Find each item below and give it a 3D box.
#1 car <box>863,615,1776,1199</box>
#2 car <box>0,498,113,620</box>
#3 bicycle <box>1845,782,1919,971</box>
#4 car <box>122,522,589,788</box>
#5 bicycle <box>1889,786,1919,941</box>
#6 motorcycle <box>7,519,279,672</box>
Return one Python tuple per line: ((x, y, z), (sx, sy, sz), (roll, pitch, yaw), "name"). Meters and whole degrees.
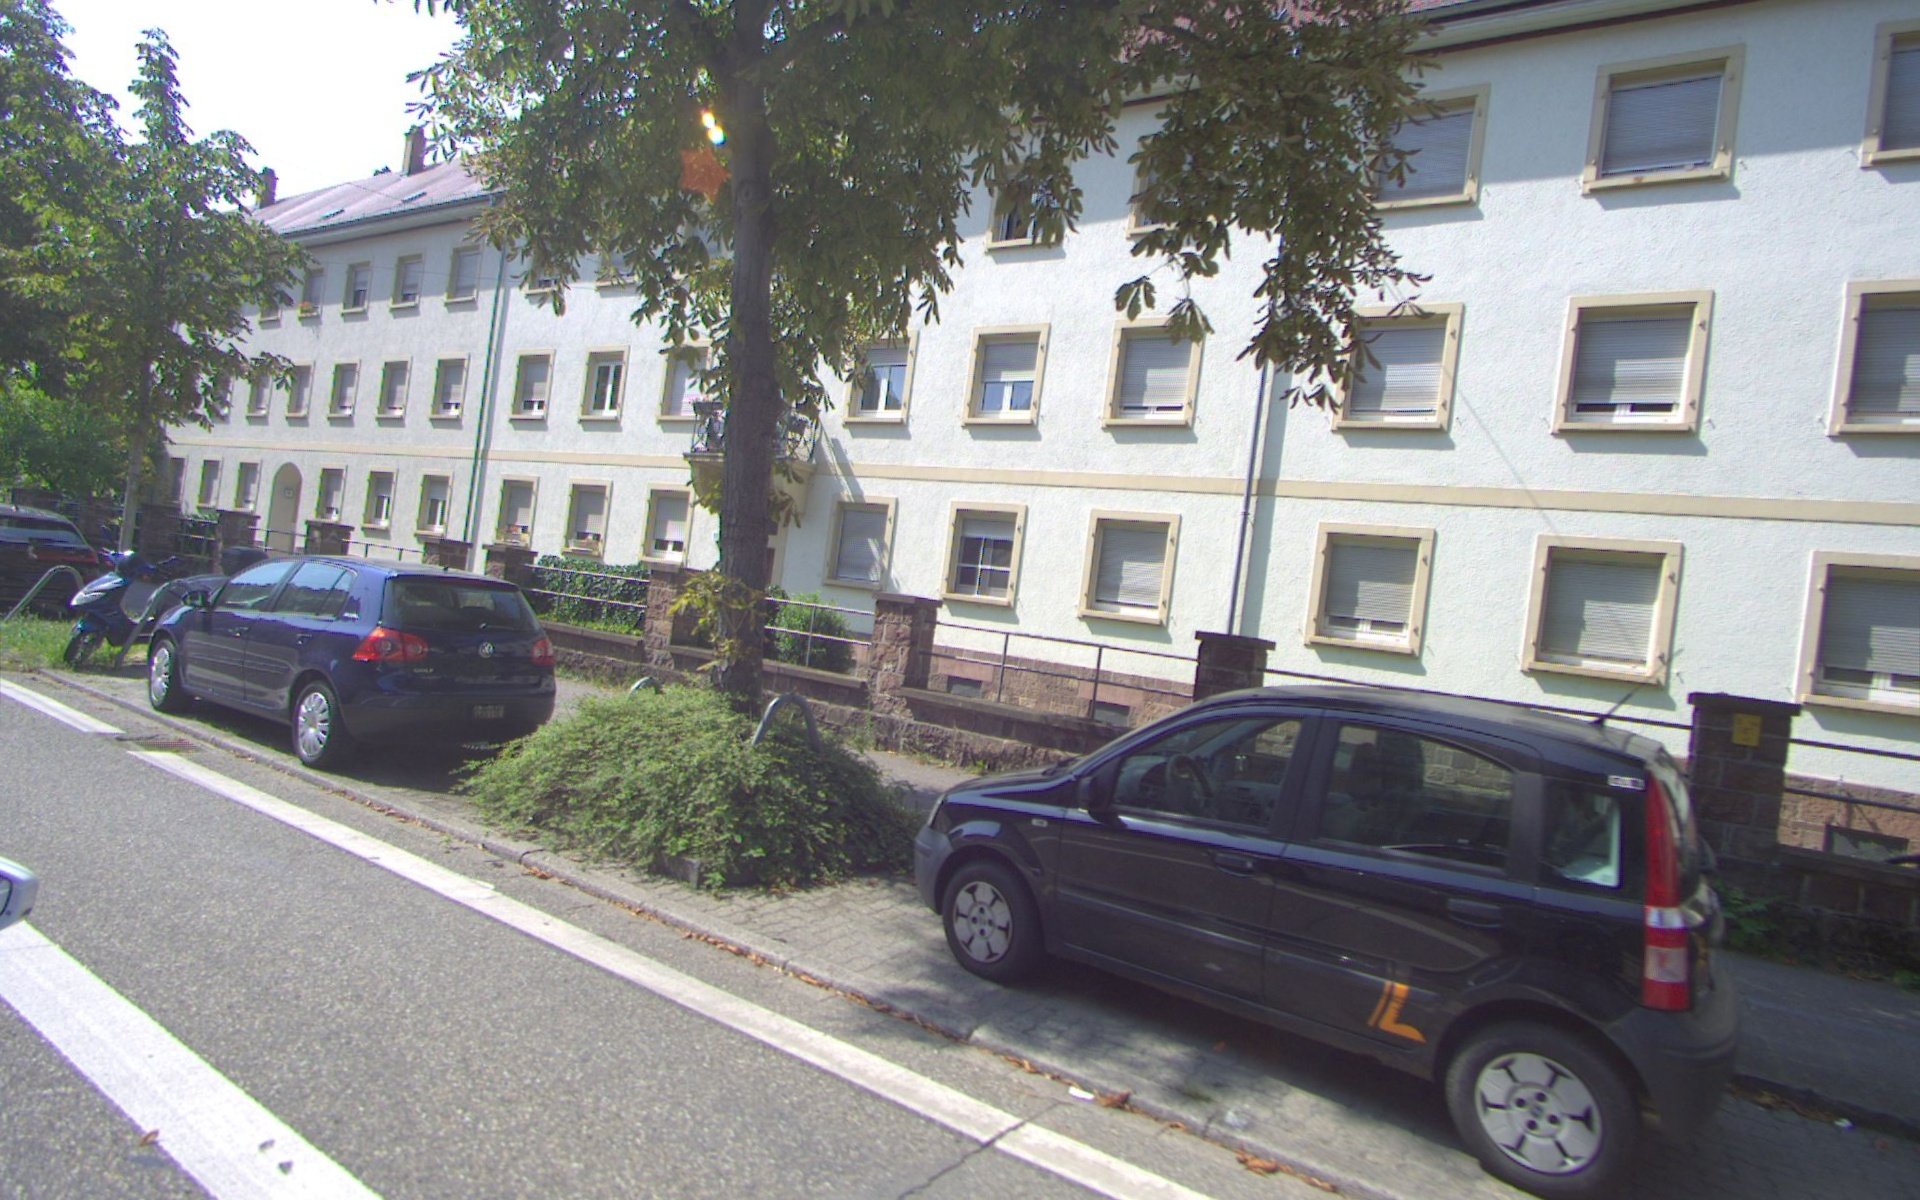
((1.423, 1.078, 4.628), (3.447, 1.549, 1.616), (7, 0, 39), "car")
((-13.988, -0.708, 14.270), (4.384, 1.497, 1.756), (7, 2, 33), "car")
((7.016, 1.954, 6.570), (1.689, 1.174, 0.469), (7, -1, 31), "bicycle")
((-5.092, 0.338, 8.321), (3.972, 1.495, 1.619), (7, 0, 33), "car")
((7.913, 2.069, 7.204), (1.689, 1.106, 0.469), (7, -1, 31), "bicycle")
((-8.668, 0.004, 10.787), (0.769, 1.384, 2.008), (7, -1, 29), "motorcycle")
